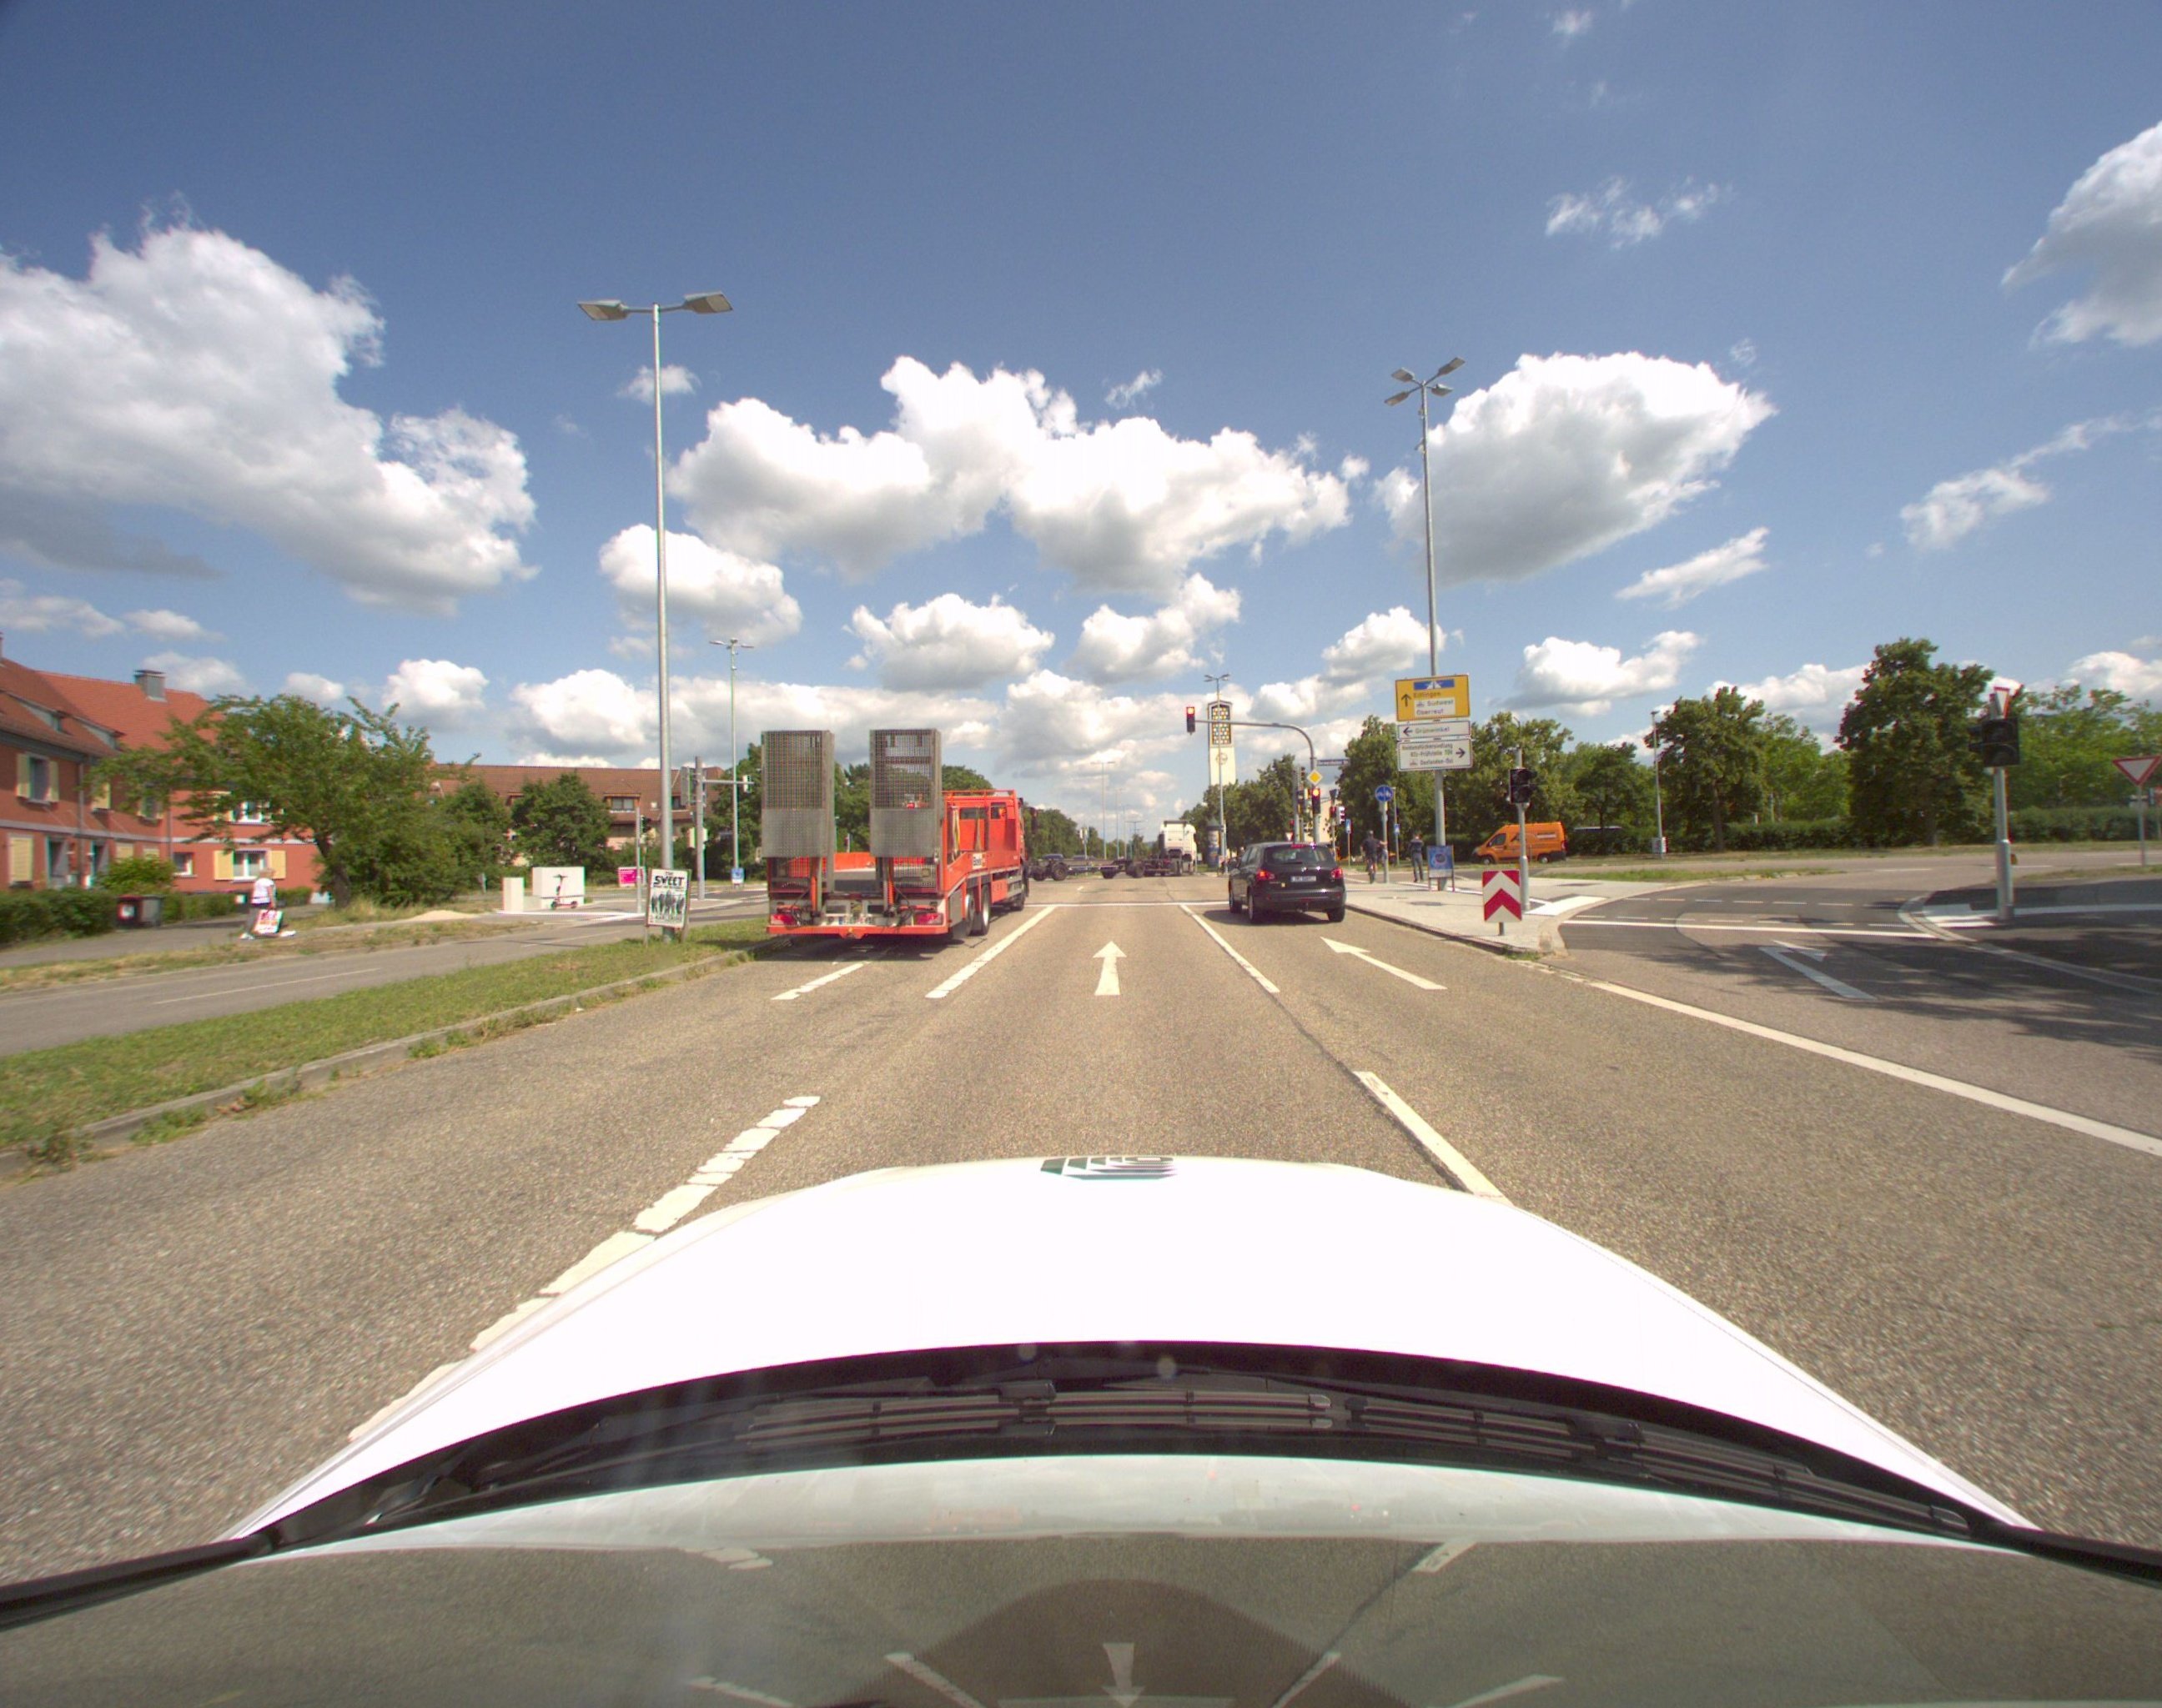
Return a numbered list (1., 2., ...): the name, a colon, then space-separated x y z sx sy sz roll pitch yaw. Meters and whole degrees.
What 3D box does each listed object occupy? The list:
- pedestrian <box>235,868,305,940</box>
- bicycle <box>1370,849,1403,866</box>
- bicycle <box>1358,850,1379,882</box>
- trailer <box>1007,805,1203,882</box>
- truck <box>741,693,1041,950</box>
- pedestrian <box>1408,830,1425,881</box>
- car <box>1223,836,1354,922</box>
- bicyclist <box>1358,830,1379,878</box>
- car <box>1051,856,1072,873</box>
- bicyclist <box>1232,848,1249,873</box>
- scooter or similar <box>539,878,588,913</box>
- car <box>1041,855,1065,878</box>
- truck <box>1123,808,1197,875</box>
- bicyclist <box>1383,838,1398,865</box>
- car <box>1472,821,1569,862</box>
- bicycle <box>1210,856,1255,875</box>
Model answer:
1. pedestrian: -18.377 1.118 18.481 0.693 1.583 0.851 0 -1 2
2. bicycle: 21.022 0.262 56.043 1.988 1.093 0.686 -2 -1 4
3. bicycle: 10.168 0.431 28.835 0.643 1.107 1.937 0 -1 18
4. trailer: 1.606 -0.684 47.479 11.365 4.012 3.593 -2 -1 -34
5. truck: -2.796 -0.365 16.363 3.059 3.414 11.072 0 -1 2
6. pedestrian: 11.818 0.062 28.710 0.461 1.779 0.484 0 -1 13
7. car: 4.107 0.483 16.736 1.792 1.552 4.001 0 -1 2
8. bicyclist: 10.110 0.018 28.655 0.643 1.661 0.653 0 -1 17
9. car: -1.622 0.885 68.459 1.562 1.316 3.433 0 -1 2
10. bicyclist: 10.202 0.418 52.179 0.701 1.616 0.792 -1 0 -20
11. scooter or similar: -18.395 1.455 28.982 0.587 1.164 1.762 0 -1 2
12. car: -2.061 0.929 60.449 1.729 1.660 4.229 0 -1 -1
13. truck: 5.394 -0.794 54.158 2.936 3.970 8.678 -3 0 18
14. bicyclist: 21.306 -0.172 56.020 0.783 1.804 0.686 -2 -1 4
15. car: 25.494 -0.667 47.272 4.797 2.226 2.225 0 -1 32
16. bicycle: 9.686 0.721 51.987 2.843 1.112 0.792 -1 0 -20
